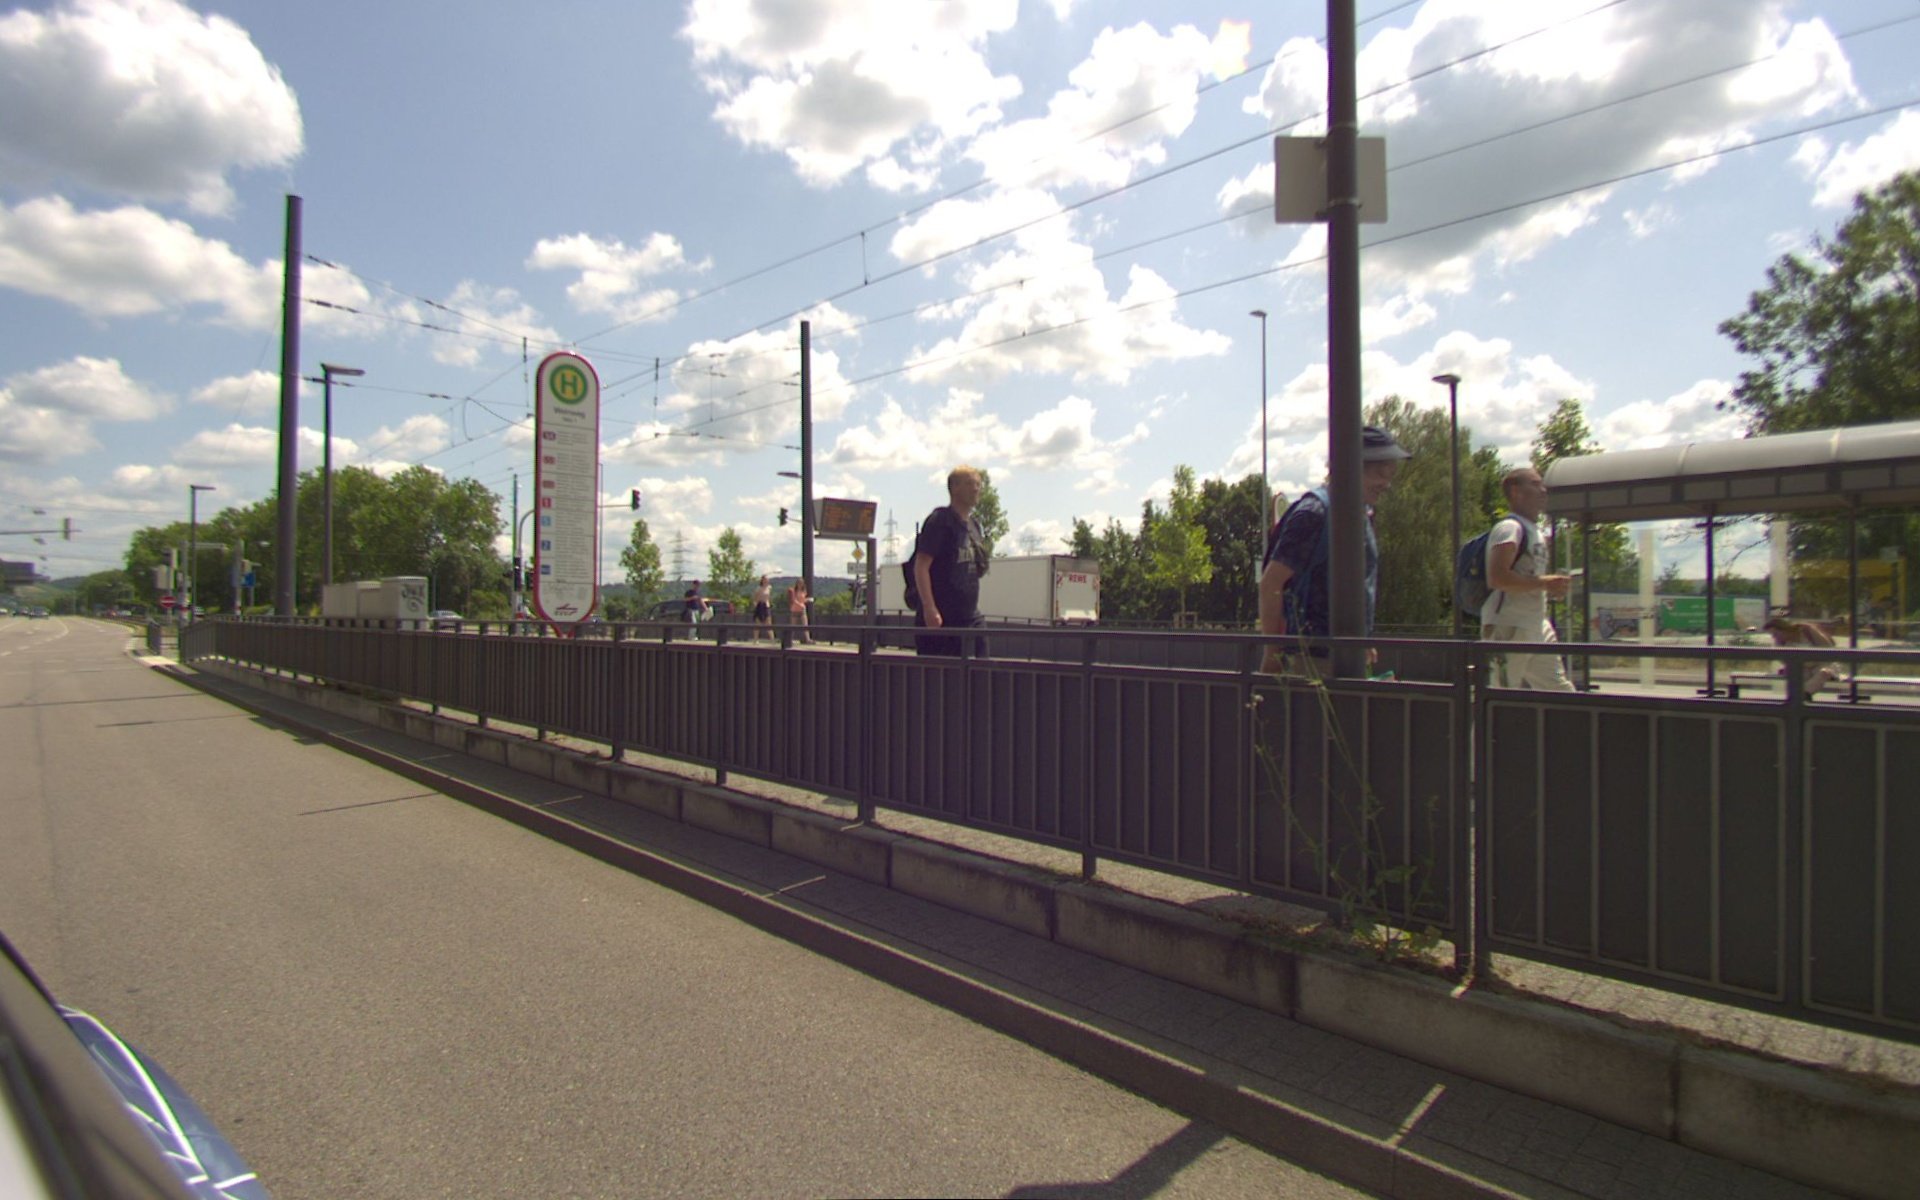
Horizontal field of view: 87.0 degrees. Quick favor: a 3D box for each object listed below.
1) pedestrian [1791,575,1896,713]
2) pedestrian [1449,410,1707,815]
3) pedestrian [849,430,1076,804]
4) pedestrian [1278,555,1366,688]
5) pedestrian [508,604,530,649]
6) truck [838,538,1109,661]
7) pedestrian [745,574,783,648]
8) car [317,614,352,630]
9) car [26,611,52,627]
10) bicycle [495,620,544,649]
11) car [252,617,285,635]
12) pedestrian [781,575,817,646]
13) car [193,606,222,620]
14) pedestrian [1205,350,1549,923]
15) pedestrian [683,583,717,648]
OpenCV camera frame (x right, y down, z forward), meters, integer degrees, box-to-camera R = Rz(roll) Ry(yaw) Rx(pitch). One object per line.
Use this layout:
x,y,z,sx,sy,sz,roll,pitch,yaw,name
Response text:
9.734,0.487,11.158,0.752,1.442,0.787,5,-4,-43,pedestrian
3.128,0.059,5.146,0.725,1.821,0.931,0,-1,-42,pedestrian
0.004,0.097,5.948,0.863,1.954,0.995,0,-2,-43,pedestrian
5.158,0.293,14.434,0.725,1.821,0.931,0,-1,-42,pedestrian
-17.759,1.071,40.724,0.661,1.782,0.614,0,-1,-40,pedestrian
0.082,0.056,39.330,2.908,4.136,12.006,0,-1,-44,truck
-4.777,0.255,24.632,0.627,1.761,0.679,-2,0,-39,pedestrian
-57.157,1.983,92.414,3.891,1.419,1.647,-1,-1,41,car
-117.023,2.405,128.630,1.967,2.029,4.010,0,-2,-35,car
-17.732,1.377,40.744,1.695,1.096,0.622,0,-1,-40,bicycle
-73.295,2.750,107.198,4.321,1.671,1.789,-1,-6,42,car
-3.988,0.268,25.079,0.591,1.734,0.709,0,-2,-39,pedestrian
-100.610,1.740,135.368,1.965,1.822,5.151,0,-1,-24,car
1.513,0.114,3.715,0.725,1.769,0.931,0,-1,-42,pedestrian
-7.041,0.416,27.409,0.718,1.734,0.525,0,-2,-38,pedestrian
